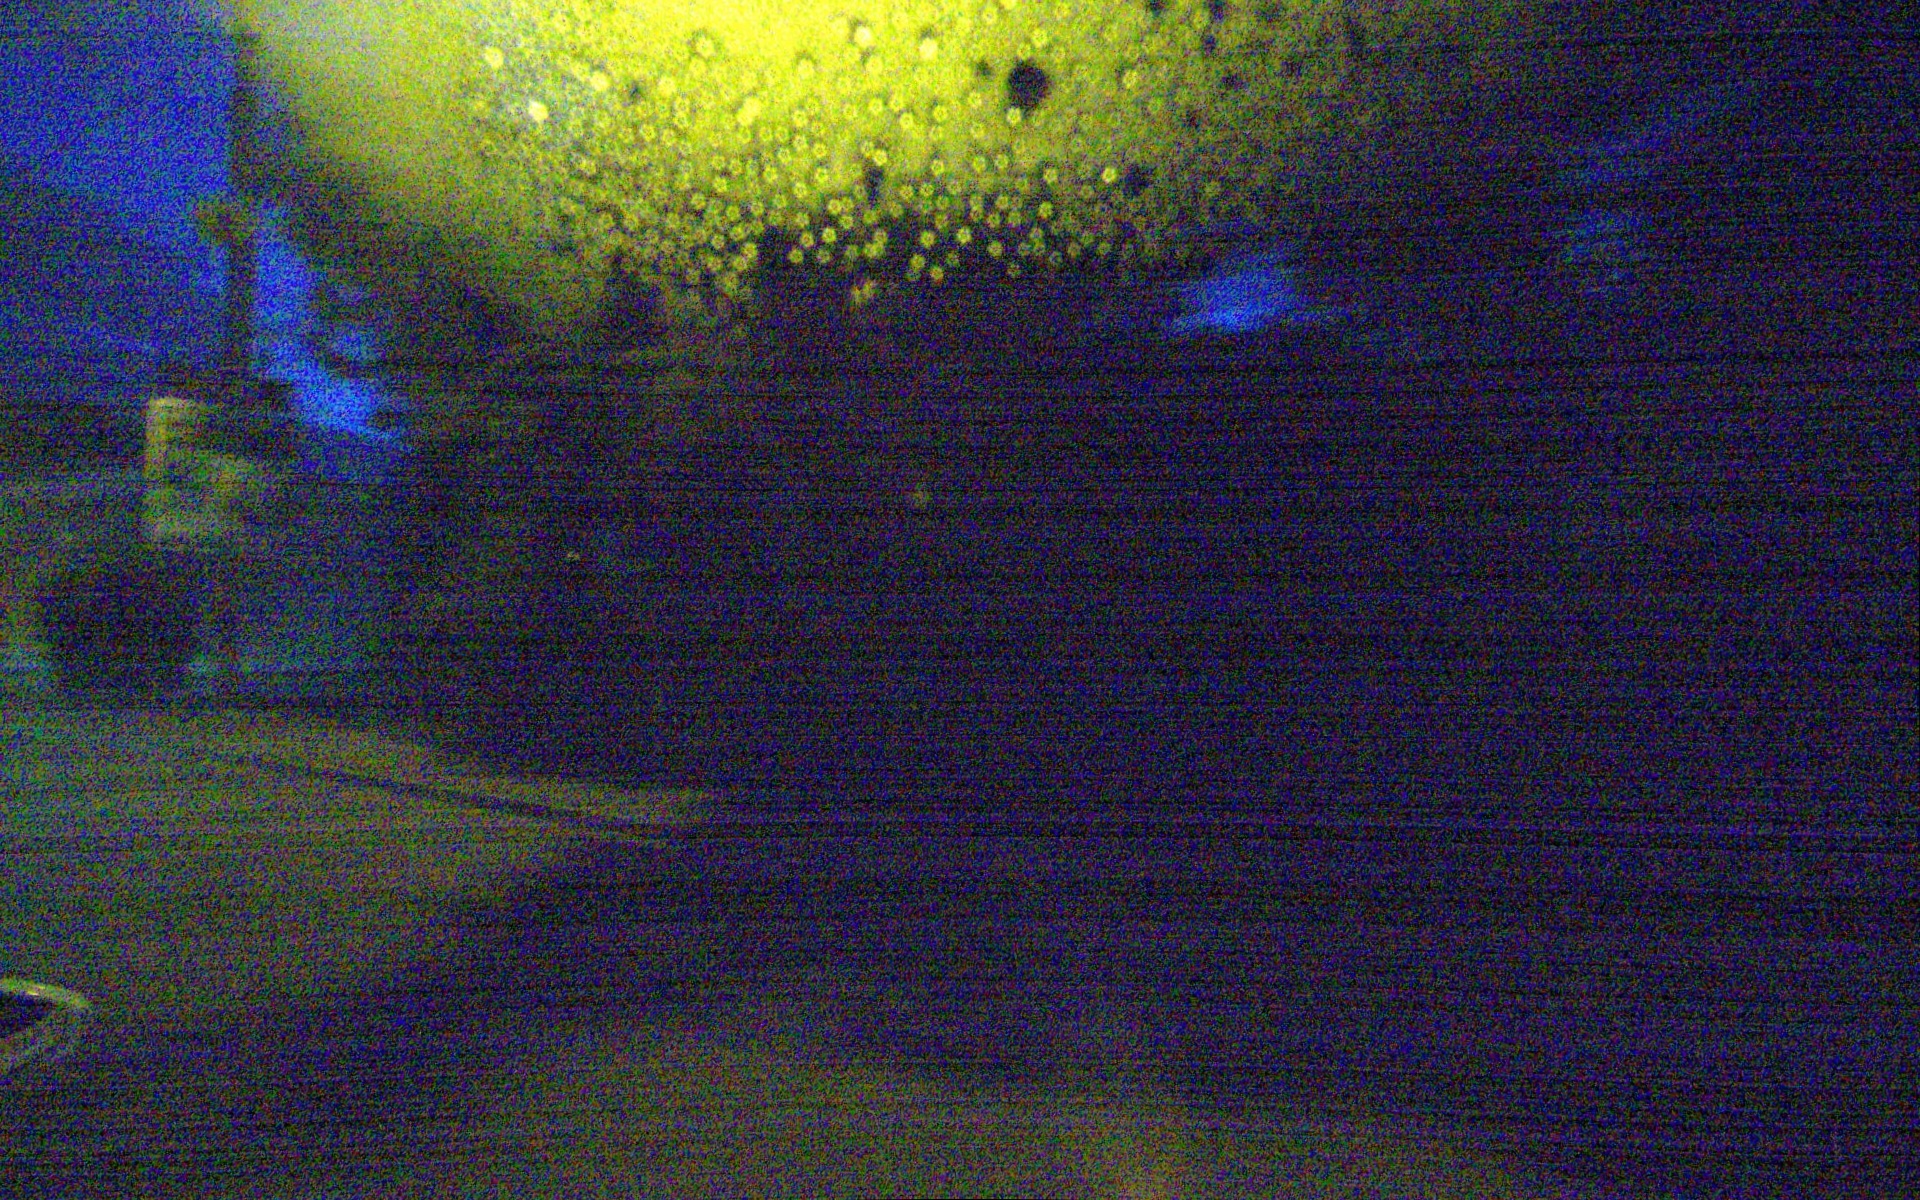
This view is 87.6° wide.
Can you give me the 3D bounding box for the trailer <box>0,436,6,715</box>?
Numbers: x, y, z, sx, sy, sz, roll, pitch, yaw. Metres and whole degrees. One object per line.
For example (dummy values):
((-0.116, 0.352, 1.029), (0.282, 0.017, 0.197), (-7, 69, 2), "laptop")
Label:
((-20.492, -0.286, 16.748), (13.764, 4.035, 2.805), (-1, -1, 30), "trailer")
